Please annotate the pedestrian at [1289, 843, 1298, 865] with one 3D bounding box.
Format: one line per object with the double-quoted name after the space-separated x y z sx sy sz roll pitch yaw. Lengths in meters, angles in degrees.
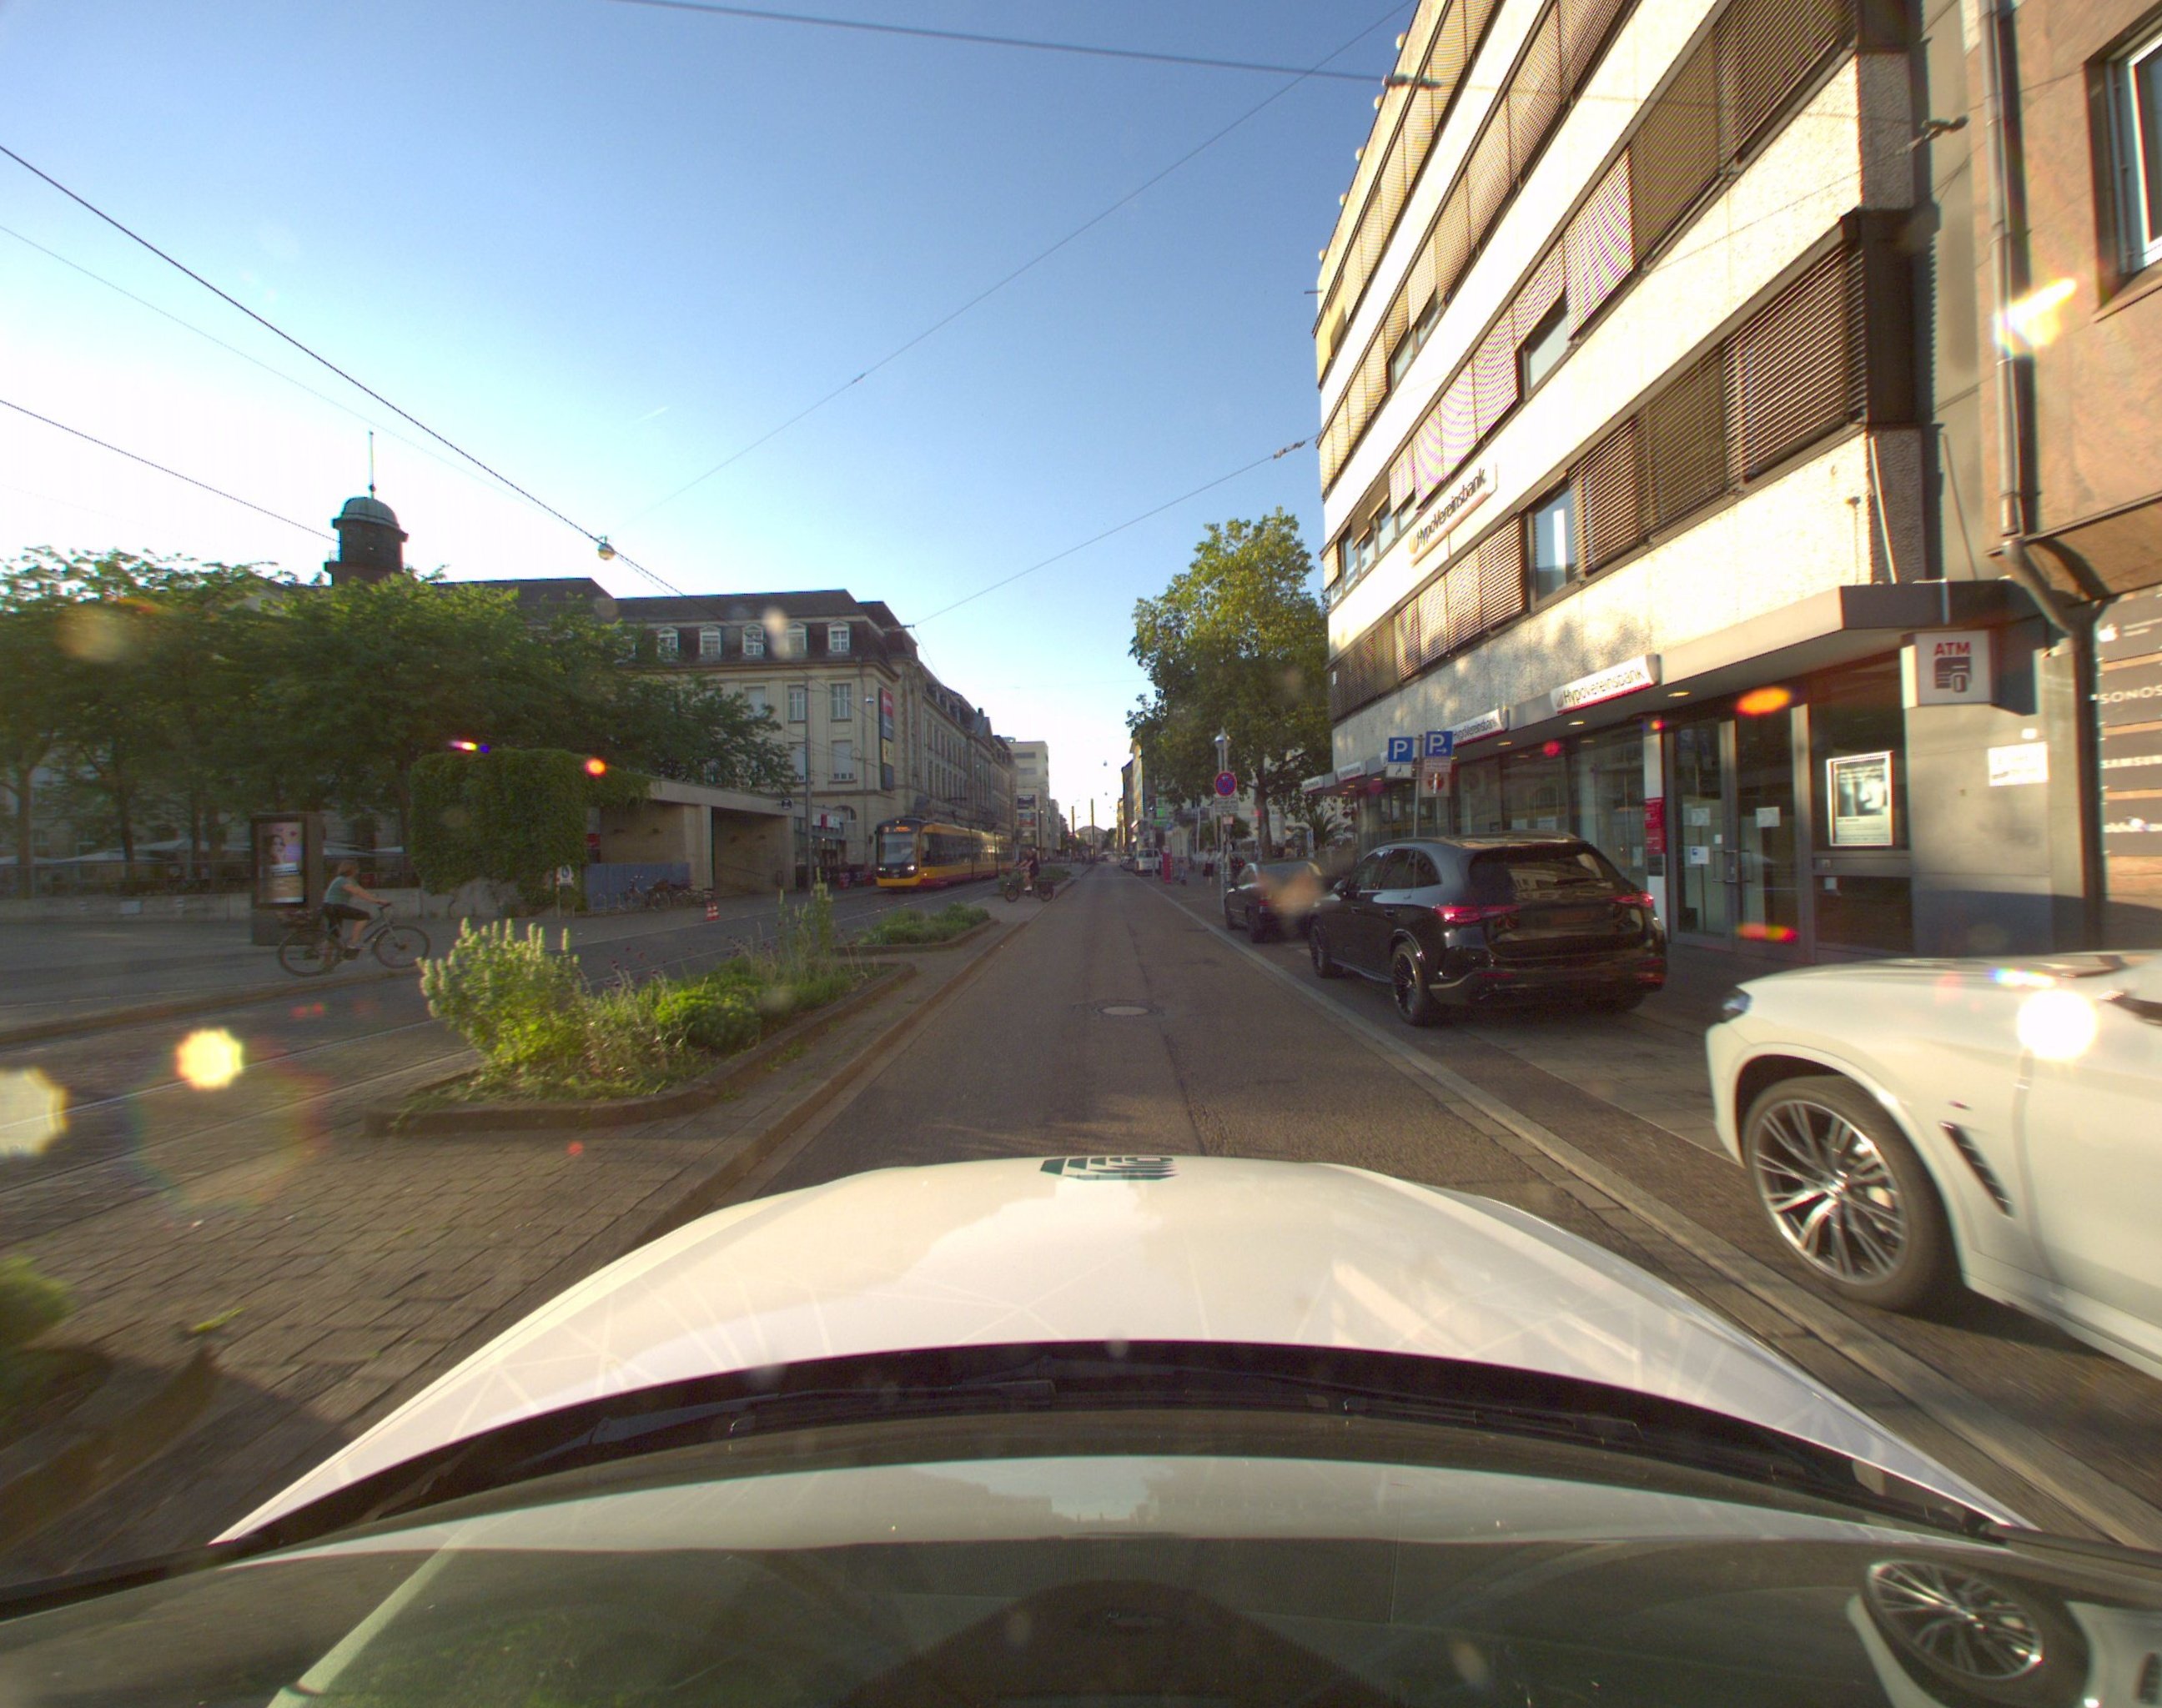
12.298 0.001 47.118 0.470 1.285 0.542 -2 -2 17 "pedestrian"

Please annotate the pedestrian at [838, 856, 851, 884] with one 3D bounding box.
-14.351 0.970 49.360 0.717 1.646 0.655 0 -1 -21 "pedestrian"

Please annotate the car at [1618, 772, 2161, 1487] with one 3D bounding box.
3.264 0.591 1.324 1.809 1.585 4.726 -1 0 3 "car"

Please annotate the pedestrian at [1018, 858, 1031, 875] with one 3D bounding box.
-4.981 1.107 72.139 0.750 1.514 0.868 -4 -3 45 "pedestrian"

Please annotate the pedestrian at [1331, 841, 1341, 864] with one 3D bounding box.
14.690 -0.090 46.873 0.470 1.285 0.542 -2 -2 17 "pedestrian"

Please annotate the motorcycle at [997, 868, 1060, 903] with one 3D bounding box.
-1.798 1.078 27.866 2.054 1.123 0.563 -1 -2 -26 "motorcycle"

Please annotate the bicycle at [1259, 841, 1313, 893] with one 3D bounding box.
7.213 0.431 28.563 2.381 1.740 0.596 -1 0 -43 "bicycle"

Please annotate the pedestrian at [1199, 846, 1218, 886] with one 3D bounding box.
5.943 0.548 38.062 0.711 1.803 0.825 -3 -1 4 "pedestrian"

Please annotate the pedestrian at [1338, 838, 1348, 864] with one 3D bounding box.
14.758 -0.168 45.909 0.470 1.400 0.542 -2 -2 17 "pedestrian"

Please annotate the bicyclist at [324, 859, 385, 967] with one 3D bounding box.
-11.699 0.932 13.140 0.708 1.668 0.621 0 -3 -40 "bicyclist"

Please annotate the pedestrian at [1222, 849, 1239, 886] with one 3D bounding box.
7.033 0.650 38.342 0.675 1.717 0.655 -2 -2 4 "pedestrian"

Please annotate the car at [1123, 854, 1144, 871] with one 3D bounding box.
5.410 0.891 85.017 1.986 1.761 4.422 -2 -1 1 "car"

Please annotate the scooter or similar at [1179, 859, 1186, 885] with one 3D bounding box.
4.930 0.883 39.494 0.313 1.221 1.275 -1 0 9 "scooter or similar"

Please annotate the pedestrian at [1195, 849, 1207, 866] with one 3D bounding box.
9.479 0.258 64.398 0.820 1.306 0.870 -2 -2 1 "pedestrian"

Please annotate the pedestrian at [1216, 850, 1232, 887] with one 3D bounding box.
6.874 0.696 39.118 0.611 1.717 0.662 -2 -2 3 "pedestrian"

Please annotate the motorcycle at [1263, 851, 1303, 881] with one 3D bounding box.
9.765 0.586 39.534 0.567 1.423 2.278 -1 0 -24 "motorcycle"

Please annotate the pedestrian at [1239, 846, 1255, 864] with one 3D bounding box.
12.481 0.082 61.244 0.960 1.267 0.905 -2 -2 1 "pedestrian"

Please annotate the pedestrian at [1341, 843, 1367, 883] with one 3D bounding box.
12.126 0.391 36.201 0.828 1.741 0.651 0 -3 -37 "pedestrian"

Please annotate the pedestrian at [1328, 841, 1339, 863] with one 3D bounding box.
15.272 -0.131 49.332 0.535 1.285 0.477 -2 -2 11 "pedestrian"

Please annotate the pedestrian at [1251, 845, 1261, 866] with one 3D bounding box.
10.681 0.099 49.738 0.470 1.285 0.542 -2 -2 16 "pedestrian"

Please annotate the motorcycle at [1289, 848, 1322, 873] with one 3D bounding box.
10.989 0.300 39.845 0.553 1.150 1.783 -1 1 -24 "motorcycle"

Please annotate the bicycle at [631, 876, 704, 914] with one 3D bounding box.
-14.472 1.425 28.539 2.233 1.255 0.580 -2 -2 1 "bicycle"

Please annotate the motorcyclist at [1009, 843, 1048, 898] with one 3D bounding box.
-1.793 0.573 27.885 1.007 1.813 0.951 -1 -2 -25 "motorcyclist"

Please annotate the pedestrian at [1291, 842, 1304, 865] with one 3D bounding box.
12.124 -0.030 45.626 0.639 1.285 0.744 -2 -2 17 "pedestrian"

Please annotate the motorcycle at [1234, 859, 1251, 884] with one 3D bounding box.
7.691 0.826 38.851 0.453 1.157 2.032 -1 0 2 "motorcycle"

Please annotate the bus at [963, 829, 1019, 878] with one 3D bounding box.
-7.239 0.047 67.126 2.812 3.612 11.826 -2 -1 2 "bus"

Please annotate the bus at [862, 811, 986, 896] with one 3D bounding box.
-7.914 -0.029 44.374 2.811 3.651 17.079 -2 0 2 "bus"

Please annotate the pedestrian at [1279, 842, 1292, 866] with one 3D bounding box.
11.509 0.002 45.881 0.639 1.285 0.744 -2 -2 17 "pedestrian"

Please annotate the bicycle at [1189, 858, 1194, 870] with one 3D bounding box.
8.988 0.833 66.123 0.249 0.902 1.374 -2 -2 2 "bicycle"

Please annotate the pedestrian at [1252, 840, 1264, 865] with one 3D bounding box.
11.317 -0.091 52.065 0.614 1.571 0.633 -2 -2 16 "pedestrian"

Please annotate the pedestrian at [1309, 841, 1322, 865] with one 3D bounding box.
13.153 -0.063 45.707 0.639 1.285 0.744 -2 -2 17 "pedestrian"

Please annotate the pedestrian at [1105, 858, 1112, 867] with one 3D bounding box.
5.857 1.760 175.214 1.231 1.928 1.017 -1 0 -15 "pedestrian"

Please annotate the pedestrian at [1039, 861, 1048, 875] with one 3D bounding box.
-4.581 1.707 99.773 1.048 1.686 0.906 -1 0 -8 "pedestrian"

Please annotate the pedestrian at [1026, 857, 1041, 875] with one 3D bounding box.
-4.168 1.043 71.679 0.710 1.514 1.043 -4 -3 44 "pedestrian"

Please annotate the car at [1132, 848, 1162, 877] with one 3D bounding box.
4.854 0.628 60.192 1.908 1.981 4.422 -2 -1 1 "car"

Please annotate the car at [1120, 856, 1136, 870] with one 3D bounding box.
6.381 1.266 111.136 1.986 1.667 4.421 -2 -2 1 "car"

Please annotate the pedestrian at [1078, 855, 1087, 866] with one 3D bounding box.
0.216 1.029 123.868 1.041 1.686 0.911 -2 -2 13 "pedestrian"

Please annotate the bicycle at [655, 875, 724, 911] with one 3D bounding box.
-14.520 1.451 30.212 2.233 1.232 0.585 -2 -1 1 "bicycle"

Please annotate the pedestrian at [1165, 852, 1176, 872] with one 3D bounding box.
8.114 0.718 73.680 0.785 1.751 0.893 -2 -2 -6 "pedestrian"

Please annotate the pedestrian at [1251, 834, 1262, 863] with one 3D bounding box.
14.155 -0.479 65.716 0.614 2.305 0.577 -1 -2 -20 "pedestrian"

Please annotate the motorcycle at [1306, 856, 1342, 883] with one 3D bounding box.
11.886 0.757 39.874 0.563 1.282 1.942 -1 0 -24 "motorcycle"

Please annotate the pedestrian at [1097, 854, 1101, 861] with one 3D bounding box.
5.008 0.922 224.293 0.773 1.734 0.818 -4 -3 41 "pedestrian"

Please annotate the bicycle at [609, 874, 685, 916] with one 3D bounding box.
-14.393 1.355 27.011 2.189 1.300 0.580 -2 -2 1 "bicycle"

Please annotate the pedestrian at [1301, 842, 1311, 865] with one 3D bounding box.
12.917 -0.039 46.669 0.470 1.285 0.542 -2 -2 17 "pedestrian"

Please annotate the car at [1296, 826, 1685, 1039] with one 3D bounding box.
3.670 0.537 8.383 1.769 1.538 4.580 -2 1 1 "car"

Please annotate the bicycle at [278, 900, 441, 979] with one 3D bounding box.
-11.593 1.341 13.167 1.946 1.112 0.455 -1 -2 -39 "bicycle"

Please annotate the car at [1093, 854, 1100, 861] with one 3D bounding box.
4.385 0.893 225.945 1.754 1.827 3.571 -2 -2 1 "car"

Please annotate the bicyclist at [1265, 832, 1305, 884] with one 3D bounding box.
7.152 0.131 28.556 0.937 1.776 0.959 -1 -1 -43 "bicyclist"

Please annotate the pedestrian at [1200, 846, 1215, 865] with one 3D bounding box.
9.465 0.127 60.949 0.899 1.314 0.966 -2 -2 1 "pedestrian"

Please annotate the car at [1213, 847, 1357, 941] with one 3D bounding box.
3.665 0.649 15.385 1.649 1.380 4.342 -5 0 2 "car"

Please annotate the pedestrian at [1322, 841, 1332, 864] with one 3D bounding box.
13.996 -0.075 46.262 0.470 1.285 0.542 -2 -2 17 "pedestrian"

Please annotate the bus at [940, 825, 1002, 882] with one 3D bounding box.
-7.551 -0.023 57.047 2.812 3.624 8.293 -2 0 2 "bus"

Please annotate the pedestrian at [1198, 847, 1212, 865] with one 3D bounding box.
9.454 0.158 61.981 0.899 1.306 0.966 -2 -2 1 "pedestrian"

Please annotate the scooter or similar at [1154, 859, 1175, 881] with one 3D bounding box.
4.847 0.927 47.169 1.120 1.216 0.300 -3 -1 2 "scooter or similar"
